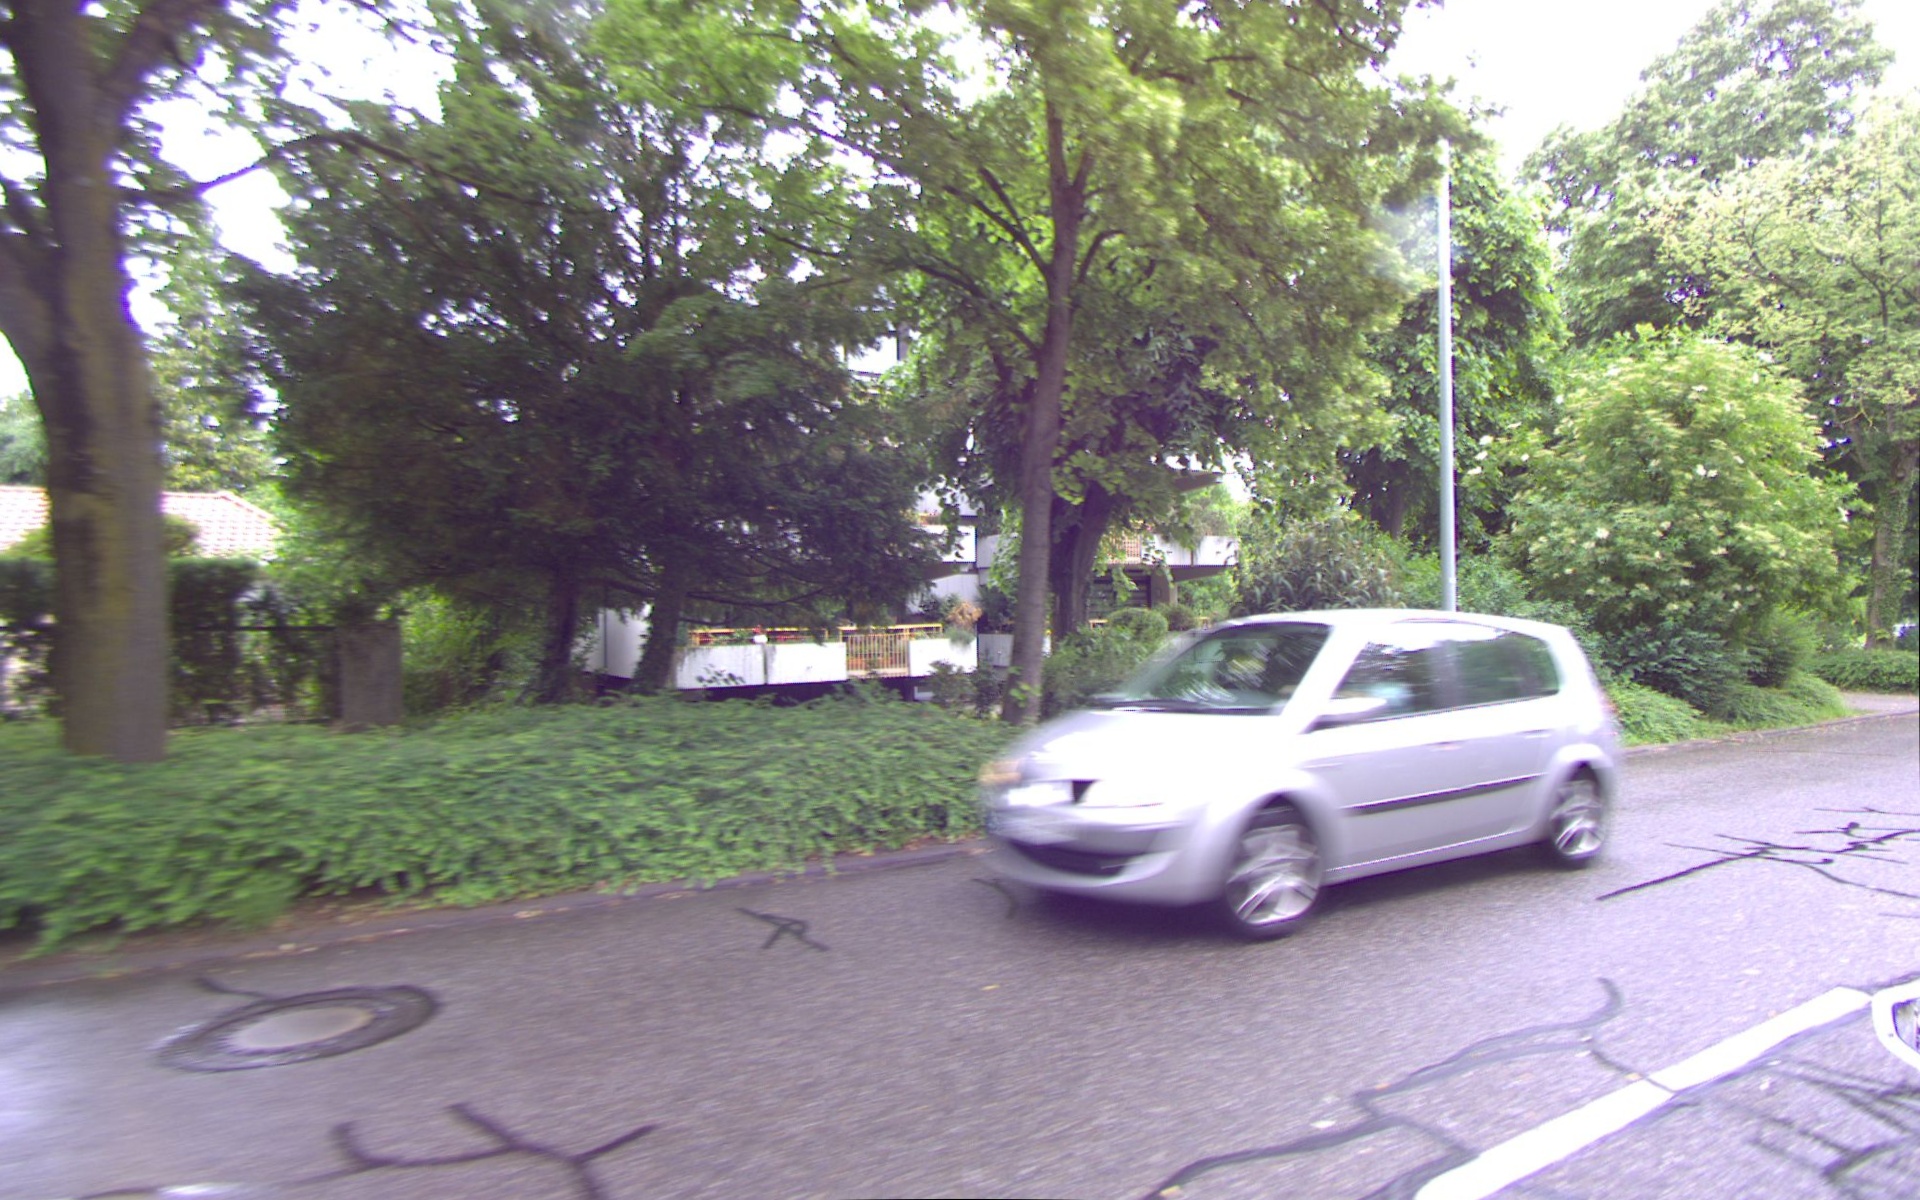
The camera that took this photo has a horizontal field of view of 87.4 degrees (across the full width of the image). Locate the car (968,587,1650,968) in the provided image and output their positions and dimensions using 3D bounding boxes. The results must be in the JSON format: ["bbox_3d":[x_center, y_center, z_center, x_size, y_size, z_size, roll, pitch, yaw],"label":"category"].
[{"bbox_3d":[2.244,0.823,6.173,4.094,1.635,1.755,1,-3,-31],"label":"car"}]
